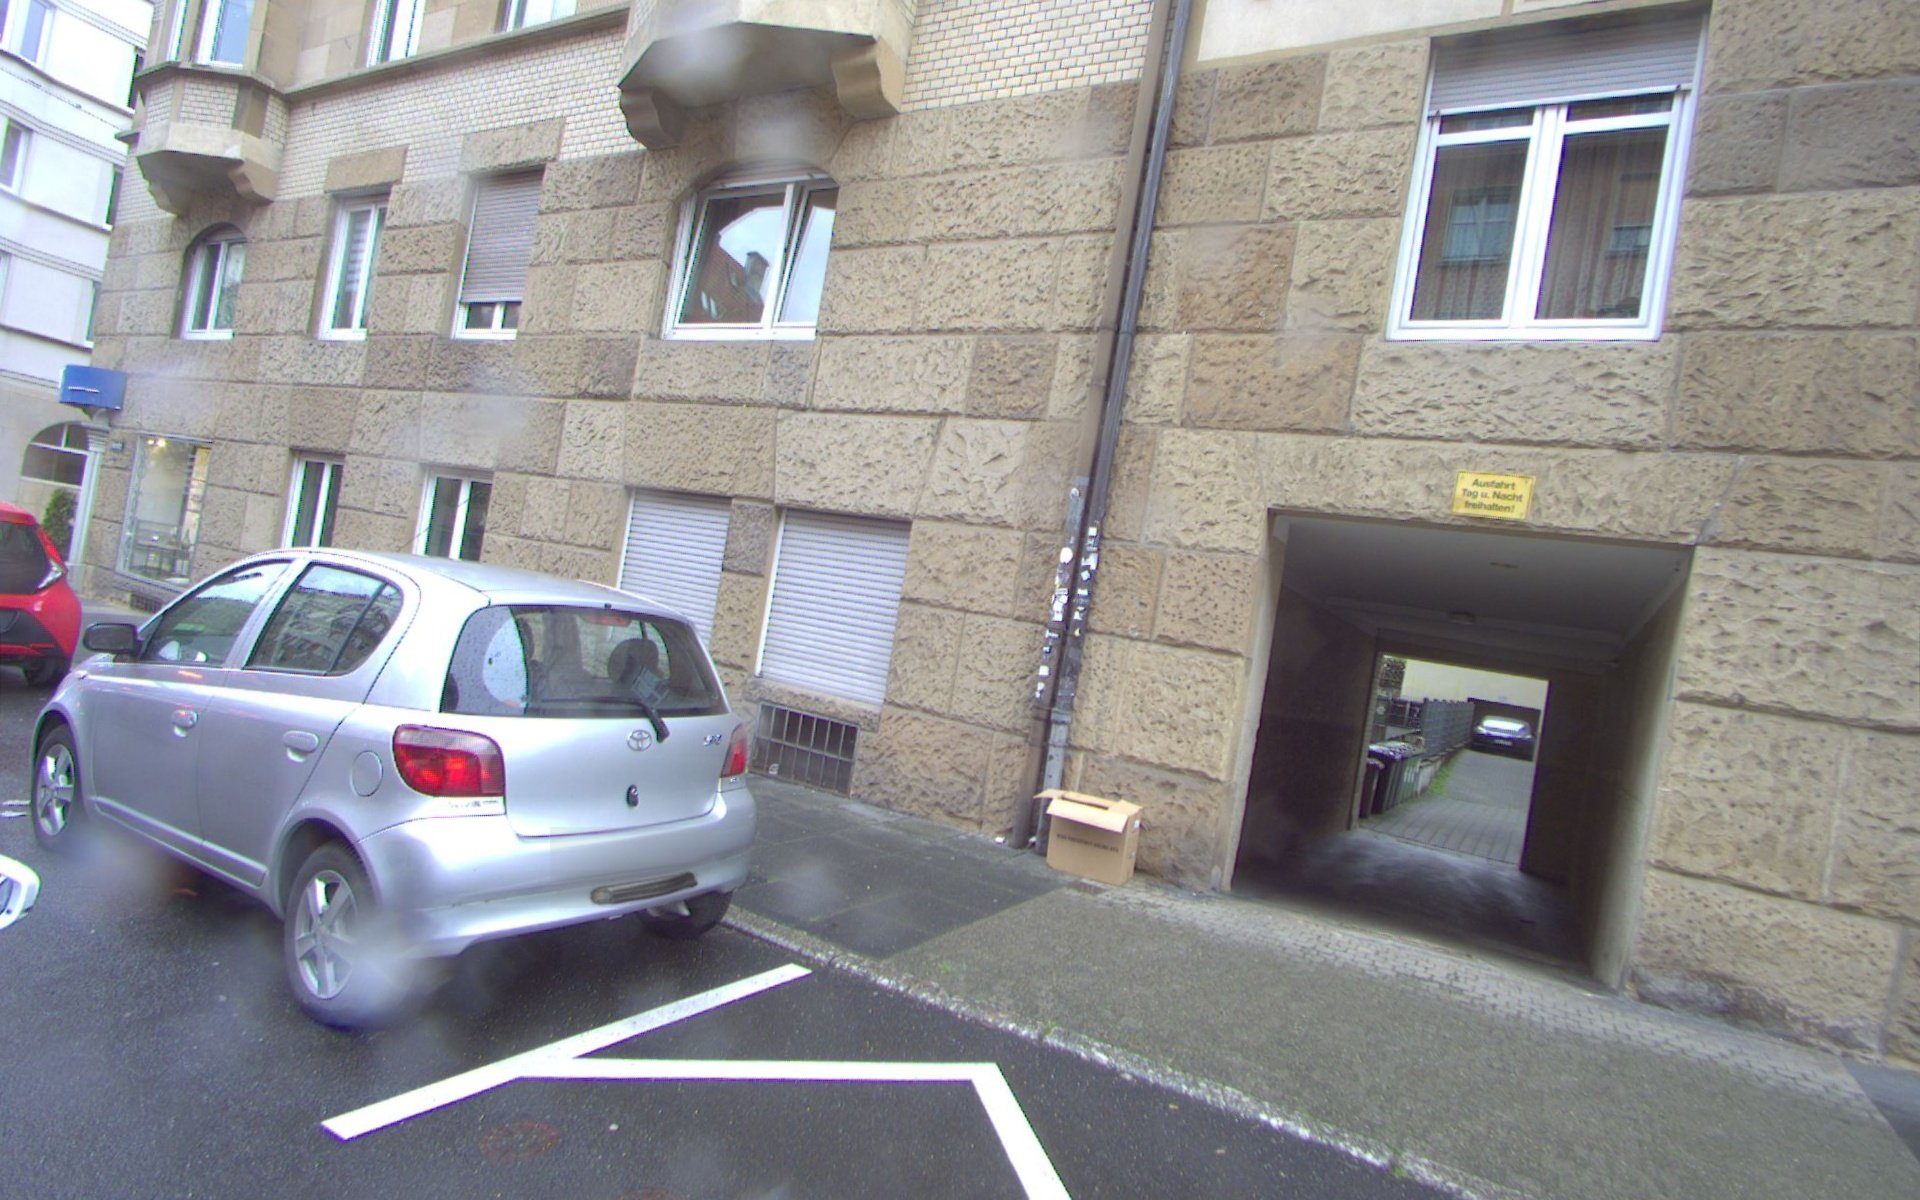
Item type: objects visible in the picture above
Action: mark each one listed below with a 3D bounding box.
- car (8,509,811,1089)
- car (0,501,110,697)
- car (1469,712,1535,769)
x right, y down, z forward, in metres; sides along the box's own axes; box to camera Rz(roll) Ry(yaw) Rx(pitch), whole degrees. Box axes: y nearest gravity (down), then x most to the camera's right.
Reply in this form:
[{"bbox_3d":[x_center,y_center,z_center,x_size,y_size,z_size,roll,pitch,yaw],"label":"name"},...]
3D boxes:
[{"bbox_3d":[-2.491,0.550,4.402,3.258,1.485,1.616,7,-1,33],"label":"car"},{"bbox_3d":[-8.740,-0.196,8.180,3.243,1.464,1.646,7,-2,29],"label":"car"},{"bbox_3d":[18.332,4.715,33.943,1.693,1.538,4.102,7,-3,31],"label":"car"}]
